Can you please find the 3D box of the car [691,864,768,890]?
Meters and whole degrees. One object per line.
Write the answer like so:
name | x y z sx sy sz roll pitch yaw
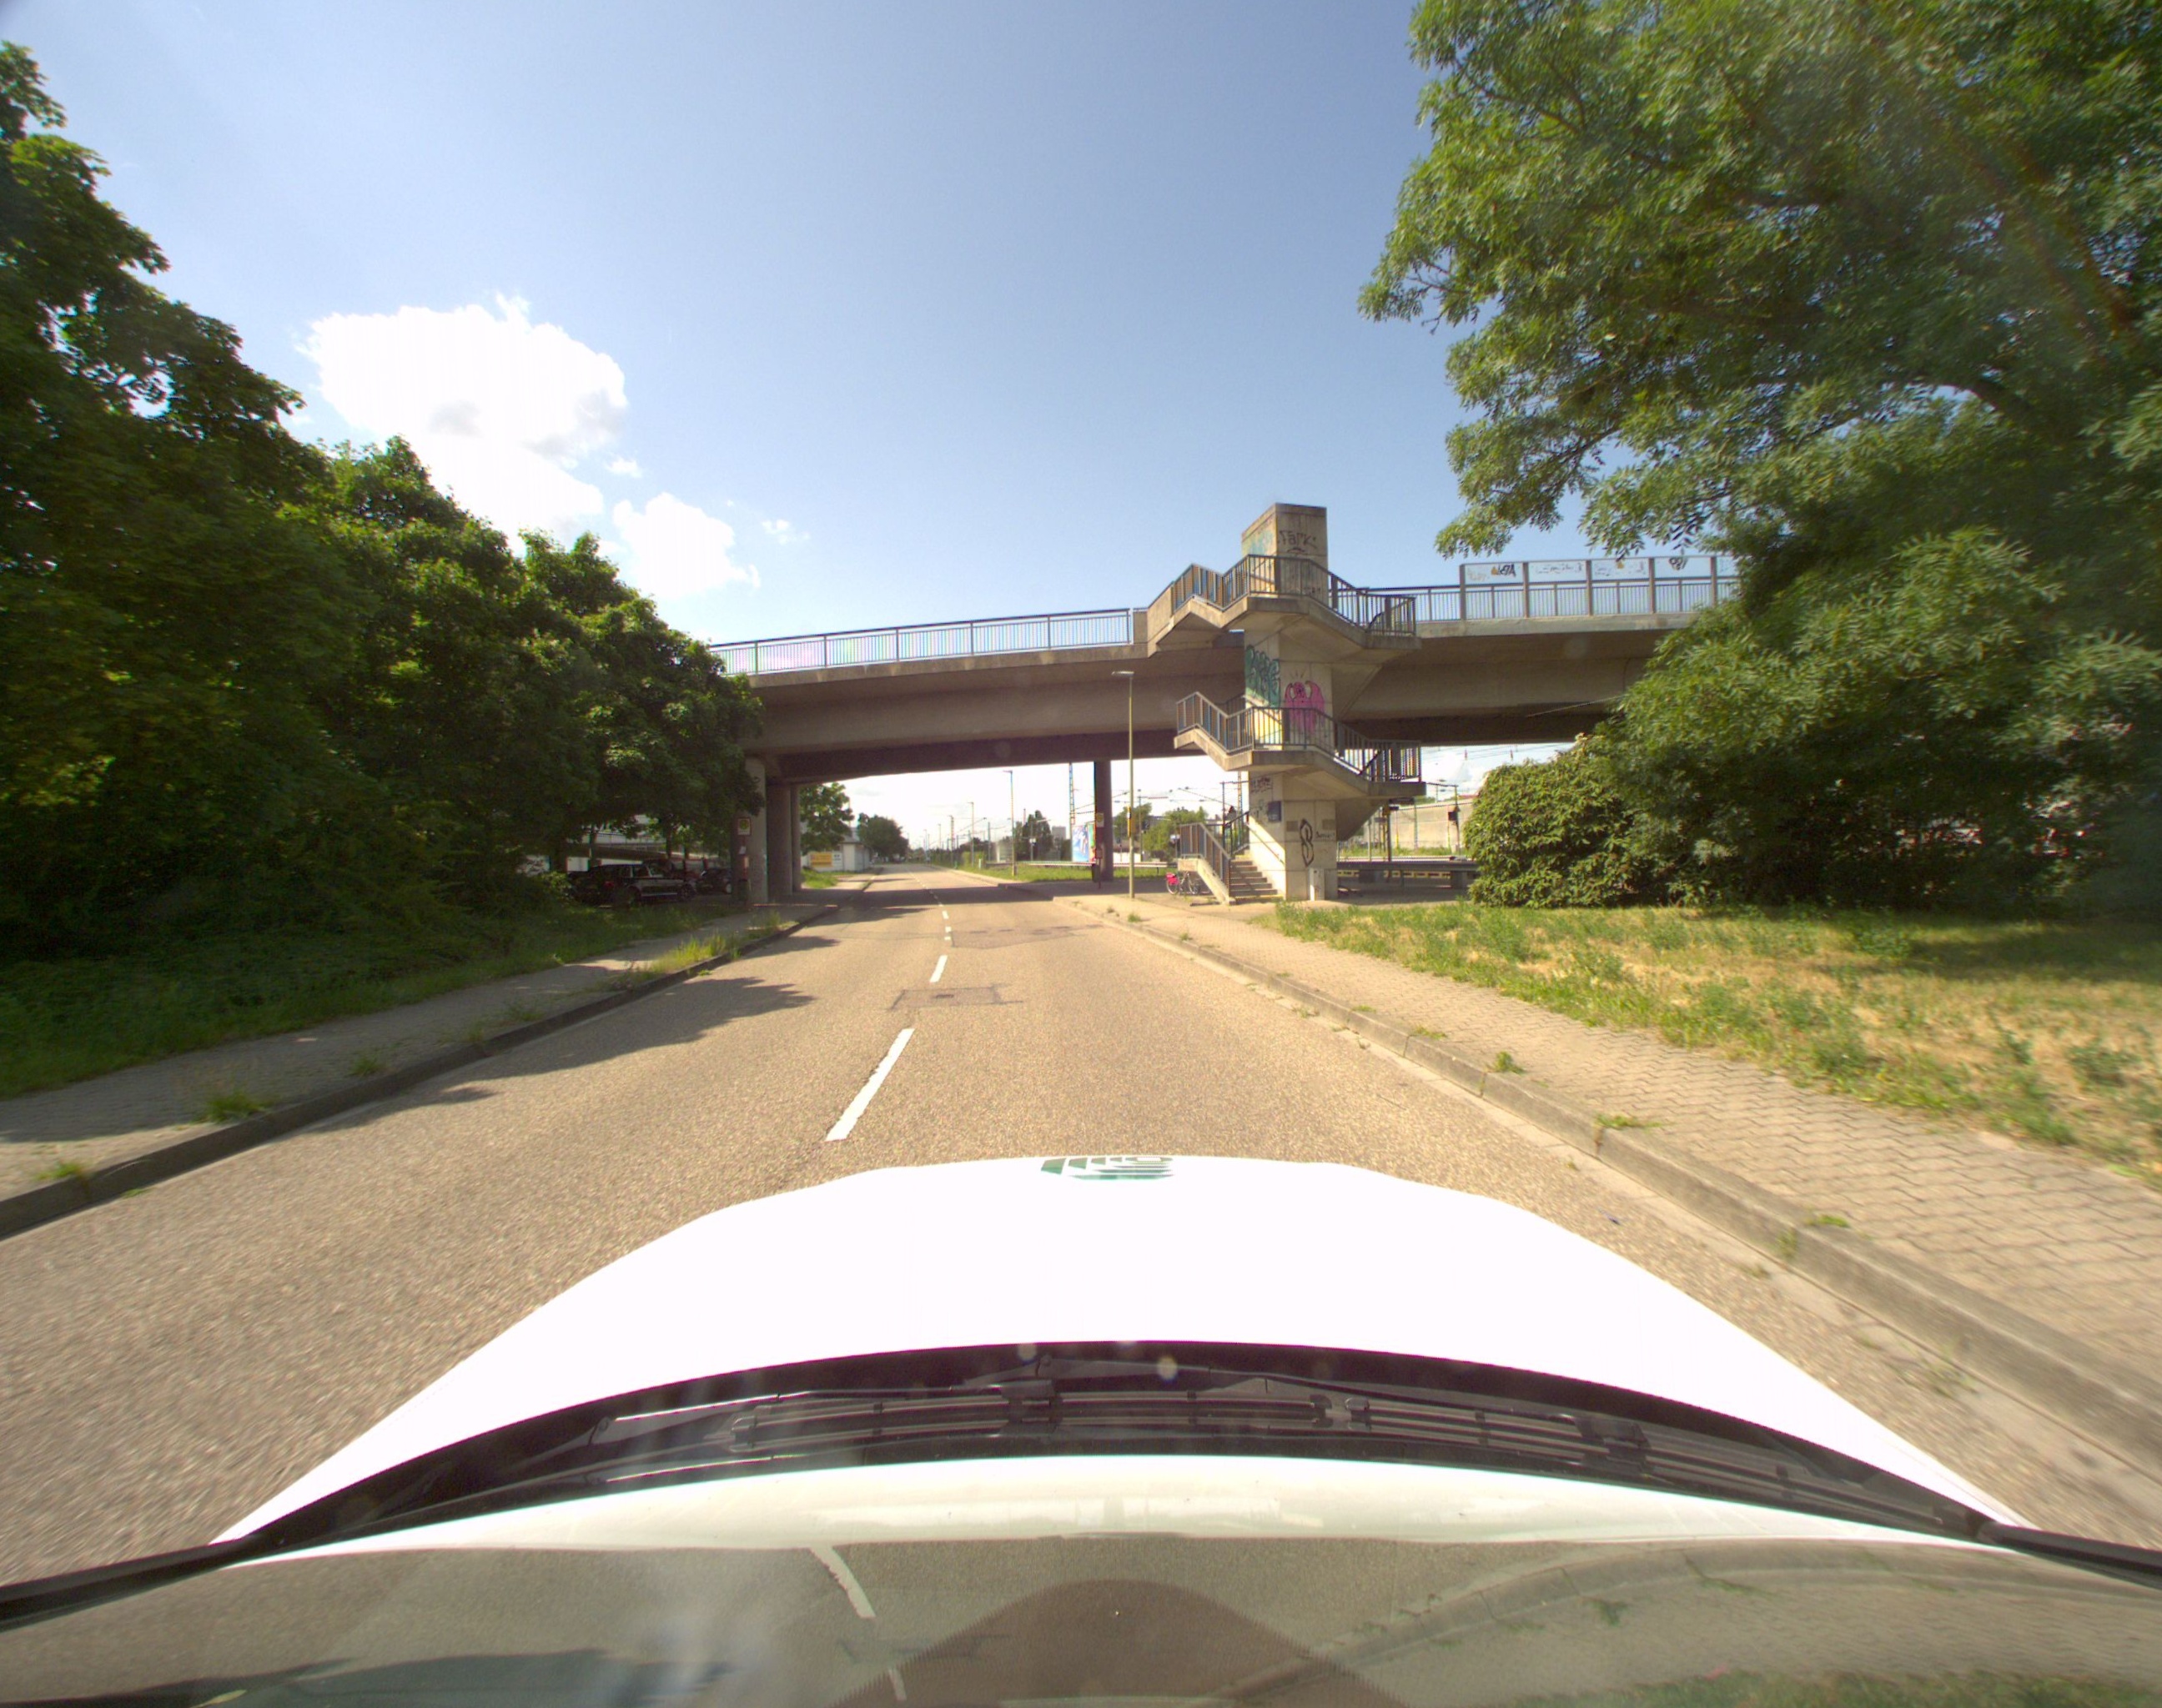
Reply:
car | -18.586 1.215 43.191 1.672 1.284 3.470 -1 0 24

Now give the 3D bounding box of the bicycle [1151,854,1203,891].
bicycle | 3.041 0.582 26.025 0.645 1.108 2.175 -1 0 -22

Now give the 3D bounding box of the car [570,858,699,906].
car | -17.295 1.025 31.820 1.667 1.629 4.592 -2 0 14

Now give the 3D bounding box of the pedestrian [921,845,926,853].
pedestrian | -39.916 -1.154 206.498 0.840 2.013 1.067 1 0 37

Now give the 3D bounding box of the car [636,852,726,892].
car | -21.557 0.936 44.025 1.923 2.014 3.981 -1 -1 25
